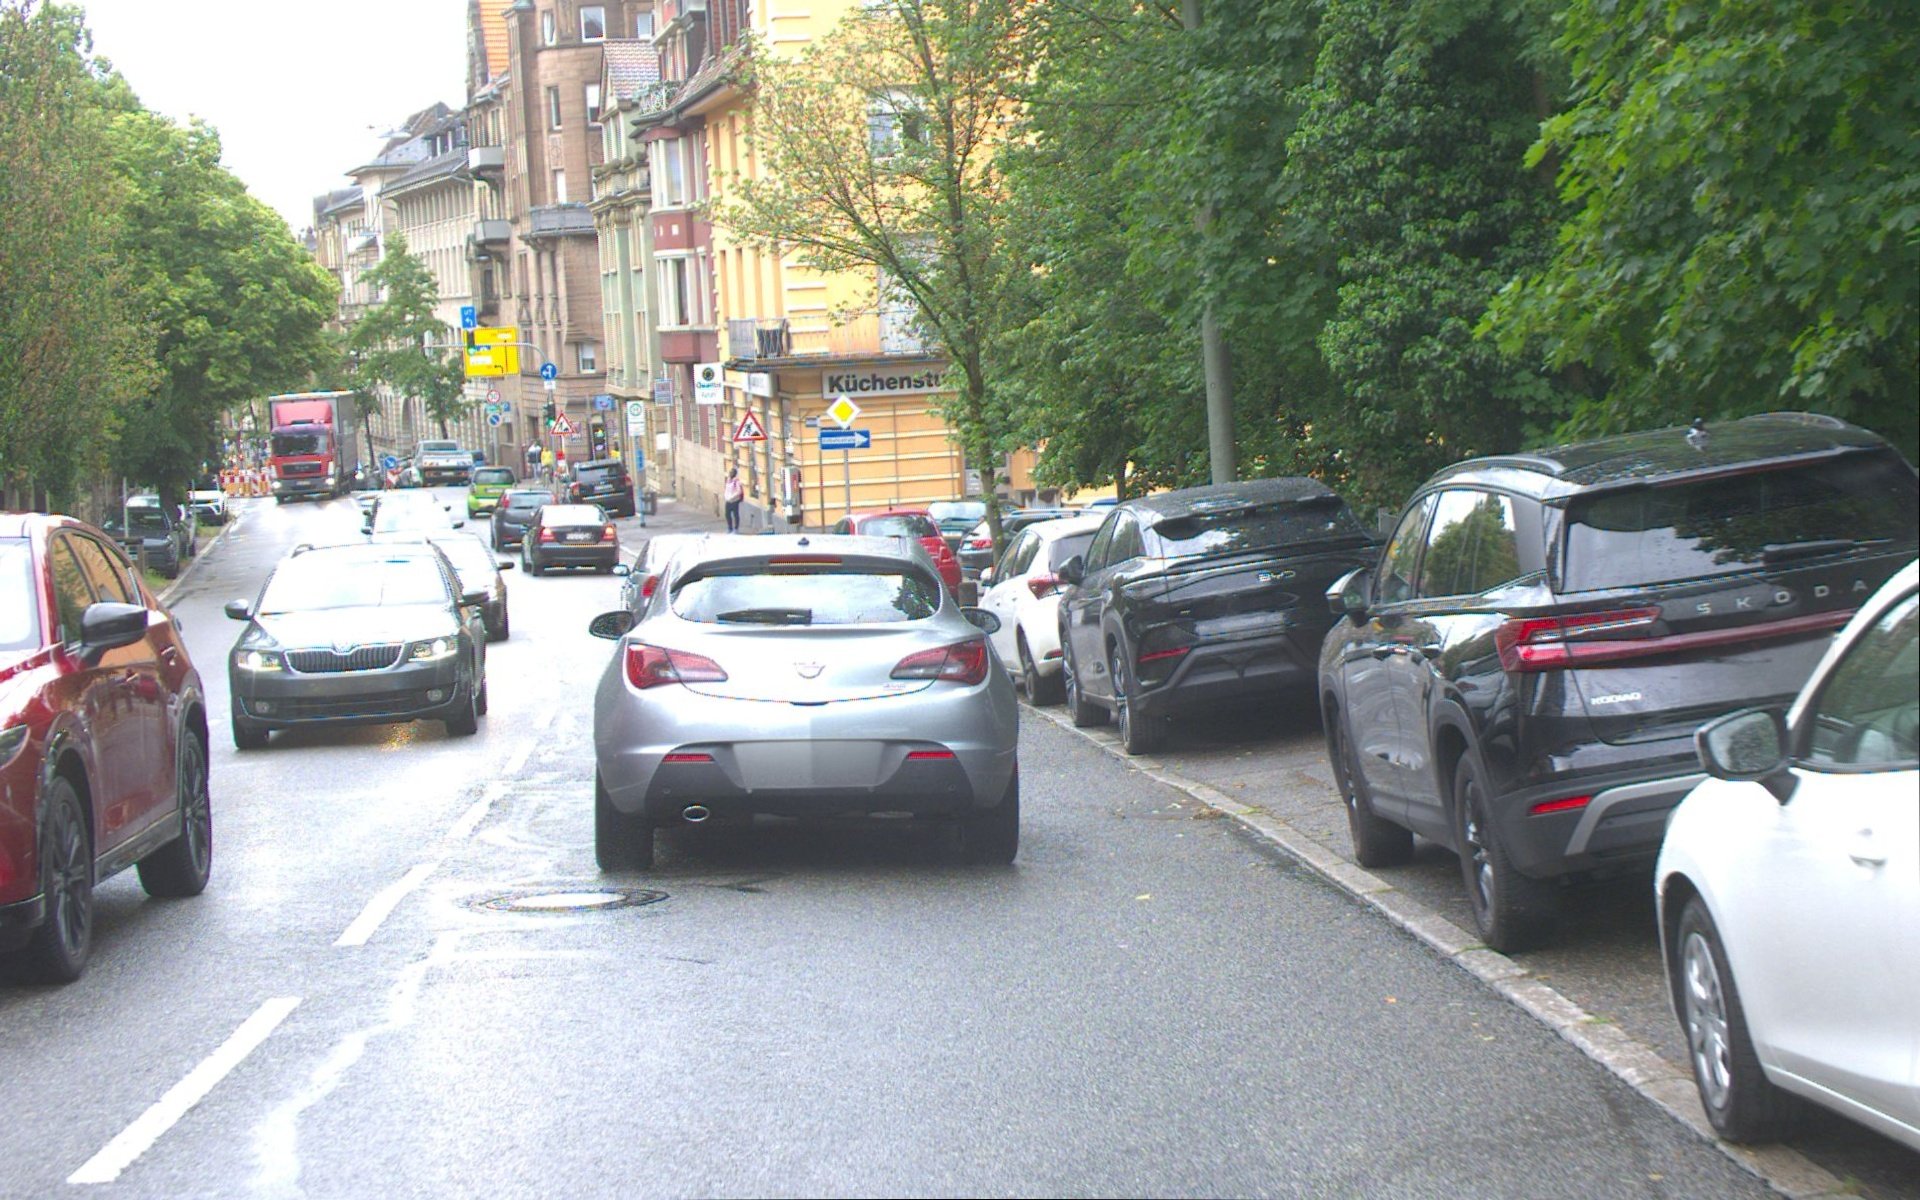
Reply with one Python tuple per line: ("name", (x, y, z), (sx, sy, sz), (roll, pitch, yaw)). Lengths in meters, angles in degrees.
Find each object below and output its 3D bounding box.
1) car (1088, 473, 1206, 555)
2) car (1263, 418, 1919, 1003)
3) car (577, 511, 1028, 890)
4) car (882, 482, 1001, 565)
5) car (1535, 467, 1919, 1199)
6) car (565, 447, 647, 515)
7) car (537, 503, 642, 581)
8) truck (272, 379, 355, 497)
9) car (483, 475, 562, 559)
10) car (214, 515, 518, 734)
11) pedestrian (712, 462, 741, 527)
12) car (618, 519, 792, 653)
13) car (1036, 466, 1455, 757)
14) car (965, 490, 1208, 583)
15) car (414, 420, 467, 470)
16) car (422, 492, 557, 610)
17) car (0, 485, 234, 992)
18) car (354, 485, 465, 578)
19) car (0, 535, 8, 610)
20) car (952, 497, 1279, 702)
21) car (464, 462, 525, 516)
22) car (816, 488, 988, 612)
("car", (3.666, -1.681, 66.782), (1.777, 1.424, 3.785), (0, 4, 11))
("car", (2.383, 0.256, 12.877), (1.821, 1.677, 4.804), (-4, 2, -2))
("car", (-0.685, 0.361, 16.110), (1.815, 1.424, 4.001), (-1, 3, -1))
("car", (-0.315, -1.466, 65.143), (1.776, 1.424, 3.785), (0, 3, 7))
("car", (2.618, 0.423, 6.970), (1.815, 1.490, 4.001), (-7, 1, -4))
("car", (-10.168, -3.399, 98.552), (1.993, 1.683, 4.001), (-8, 2, -8))
("car", (-7.111, -1.127, 65.663), (1.767, 1.410, 3.718), (0, 2, -10))
("truck", (-24.295, -6.157, 128.864), (2.788, 4.117, 10.857), (-3, 4, -11))
("car", (-10.361, -1.992, 81.328), (1.639, 1.683, 3.719), (-2, 6, -10))
("car", (-4.485, 0.125, 26.524), (1.738, 1.468, 4.282), (-3, 1, -3))
("pedestrian", (-5.576, -2.521, 81.964), (0.613, 1.491, 0.553), (-2, 4, -6))
("car", (-2.923, -0.170, 38.792), (1.776, 1.425, 3.786), (-1, 1, -7))
("car", (1.781, 0.042, 23.021), (1.975, 1.603, 4.485), (-5, 1, -5))
("car", (2.117, -1.056, 58.112), (3.772, 1.425, 1.782), (2, 0, -10))
("car", (-21.033, -6.255, 139.050), (1.781, 1.848, 4.001), (-1, 1, -13))
("car", (-6.307, -0.654, 46.248), (1.660, 1.443, 3.994), (-3, 1, -7))
("car", (-4.022, 0.442, 12.748), (1.845, 1.578, 4.280), (-4, 2, -3))
("car", (-10.676, -1.344, 66.896), (1.822, 1.645, 4.001), (-4, 2, -6))
("car", (-13.243, -0.580, 43.487), (1.787, 1.645, 4.197), (-6, 2, -10))
("car", (1.213, -0.020, 28.898), (1.975, 1.447, 4.115), (-5, 1, -7))
("car", (-13.920, -3.304, 102.741), (1.639, 1.531, 3.718), (-2, 2, -9))
("car", (-0.859, -0.691, 47.944), (1.814, 1.462, 4.001), (-7, 1, -7))
